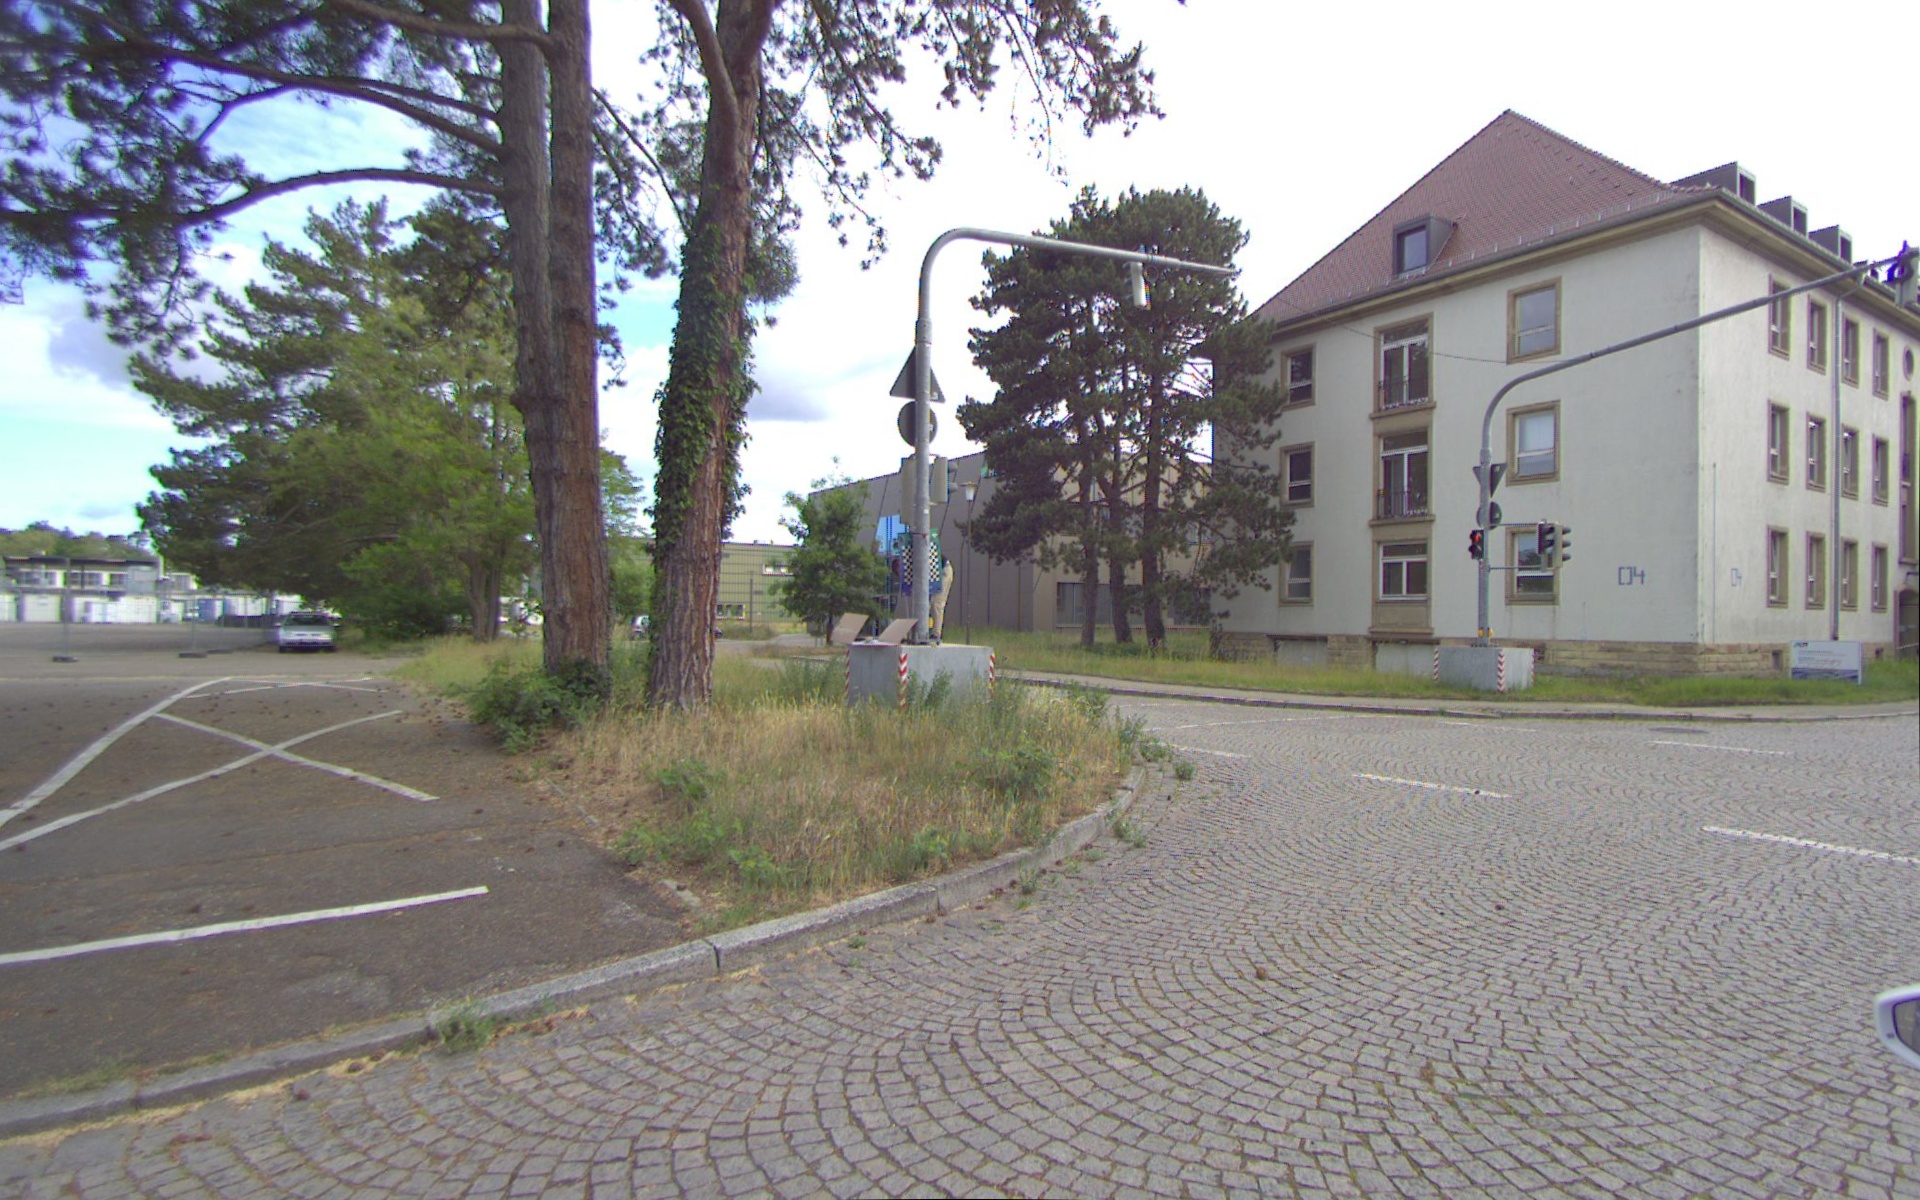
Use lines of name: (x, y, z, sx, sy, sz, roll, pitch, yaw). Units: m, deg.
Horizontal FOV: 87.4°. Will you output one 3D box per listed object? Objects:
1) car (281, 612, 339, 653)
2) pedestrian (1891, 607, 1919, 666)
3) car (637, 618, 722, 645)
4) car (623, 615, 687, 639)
car: (-23.653, 1.157, 36.502, 1.680, 1.410, 3.962, 1, -1, -34)
pedestrian: (33.137, 1.256, 34.751, 1.009, 2.040, 1.083, 1, -1, -27)
car: (-16.421, 1.802, 58.859, 4.409, 1.449, 1.983, -1, 0, -32)
car: (-19.890, 1.751, 65.416, 3.618, 1.449, 1.983, -1, 0, -32)
